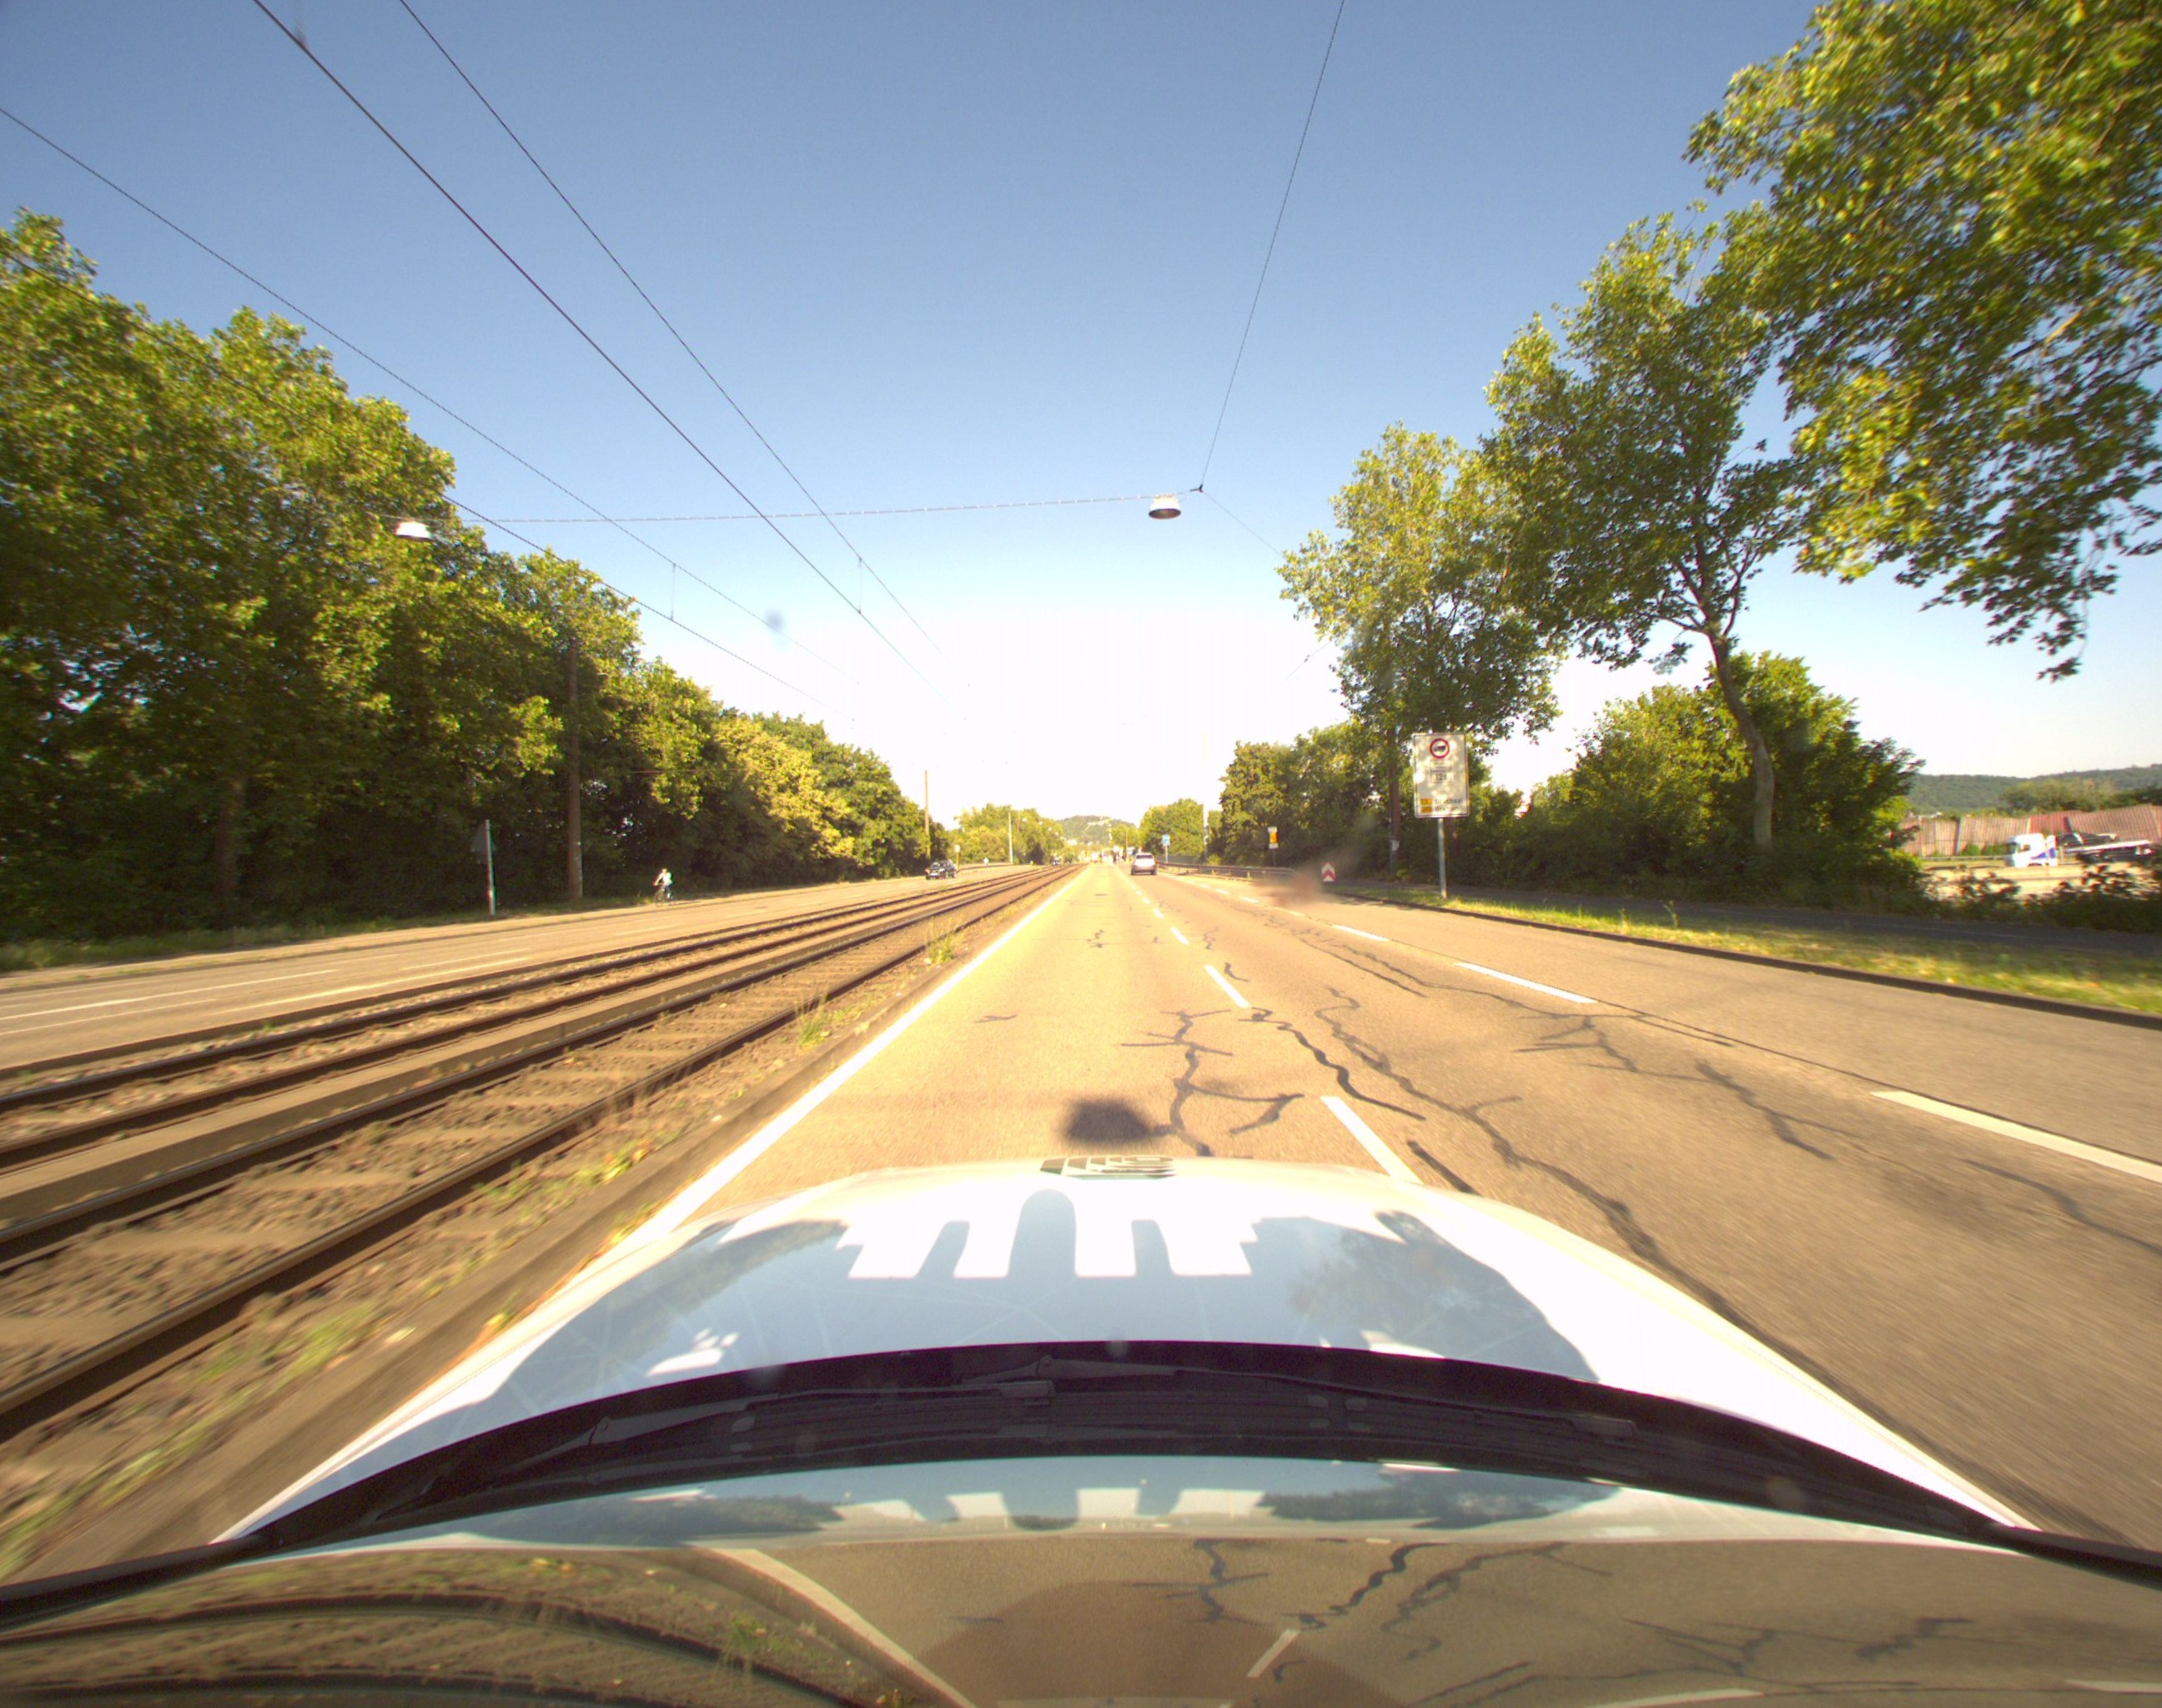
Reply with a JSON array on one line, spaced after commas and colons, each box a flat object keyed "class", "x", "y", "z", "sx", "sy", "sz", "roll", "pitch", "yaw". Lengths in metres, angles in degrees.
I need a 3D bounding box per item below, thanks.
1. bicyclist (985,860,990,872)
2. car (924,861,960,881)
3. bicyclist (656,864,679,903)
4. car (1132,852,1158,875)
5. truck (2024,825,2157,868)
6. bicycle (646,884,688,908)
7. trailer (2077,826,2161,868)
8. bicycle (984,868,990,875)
[{"class": "bicyclist", "x": -14.058, "y": 1.819, "z": 122.300, "sx": 0.538, "sy": 1.862, "sz": 0.875, "roll": 0, "pitch": -1, "yaw": 1}, {"class": "car", "x": -12.562, "y": 1.530, "z": 73.852, "sx": 1.984, "sy": 1.685, "sz": 4.802, "roll": -3, "pitch": -1, "yaw": 5}, {"class": "bicyclist", "x": -18.517, "y": 1.314, "z": 36.519, "sx": 0.548, "sy": 1.690, "sz": 0.821, "roll": 0, "pitch": -1, "yaw": 5}, {"class": "car", "x": 4.898, "y": 0.700, "z": 62.760, "sx": 1.880, "sy": 1.693, "sz": 4.261, "roll": -1, "pitch": 0, "yaw": 4}, {"class": "truck", "x": 95.571, "y": -0.676, "z": 77.305, "sx": 7.246, "sy": 3.839, "sz": 3.153, "roll": 0, "pitch": -1, "yaw": 33}, {"class": "bicycle", "x": -18.609, "y": 1.867, "z": 36.699, "sx": 0.547, "sy": 0.986, "sz": 2.242, "roll": 0, "pitch": 0, "yaw": 6}, {"class": "trailer", "x": 100.161, "y": -0.621, "z": 74.318, "sx": 11.252, "sy": 3.839, "sz": 3.153, "roll": 0, "pitch": -1, "yaw": 33}, {"class": "bicycle", "x": -14.068, "y": 2.626, "z": 122.019, "sx": 0.538, "sy": 1.043, "sz": 1.925, "roll": 0, "pitch": 0, "yaw": 1}]
